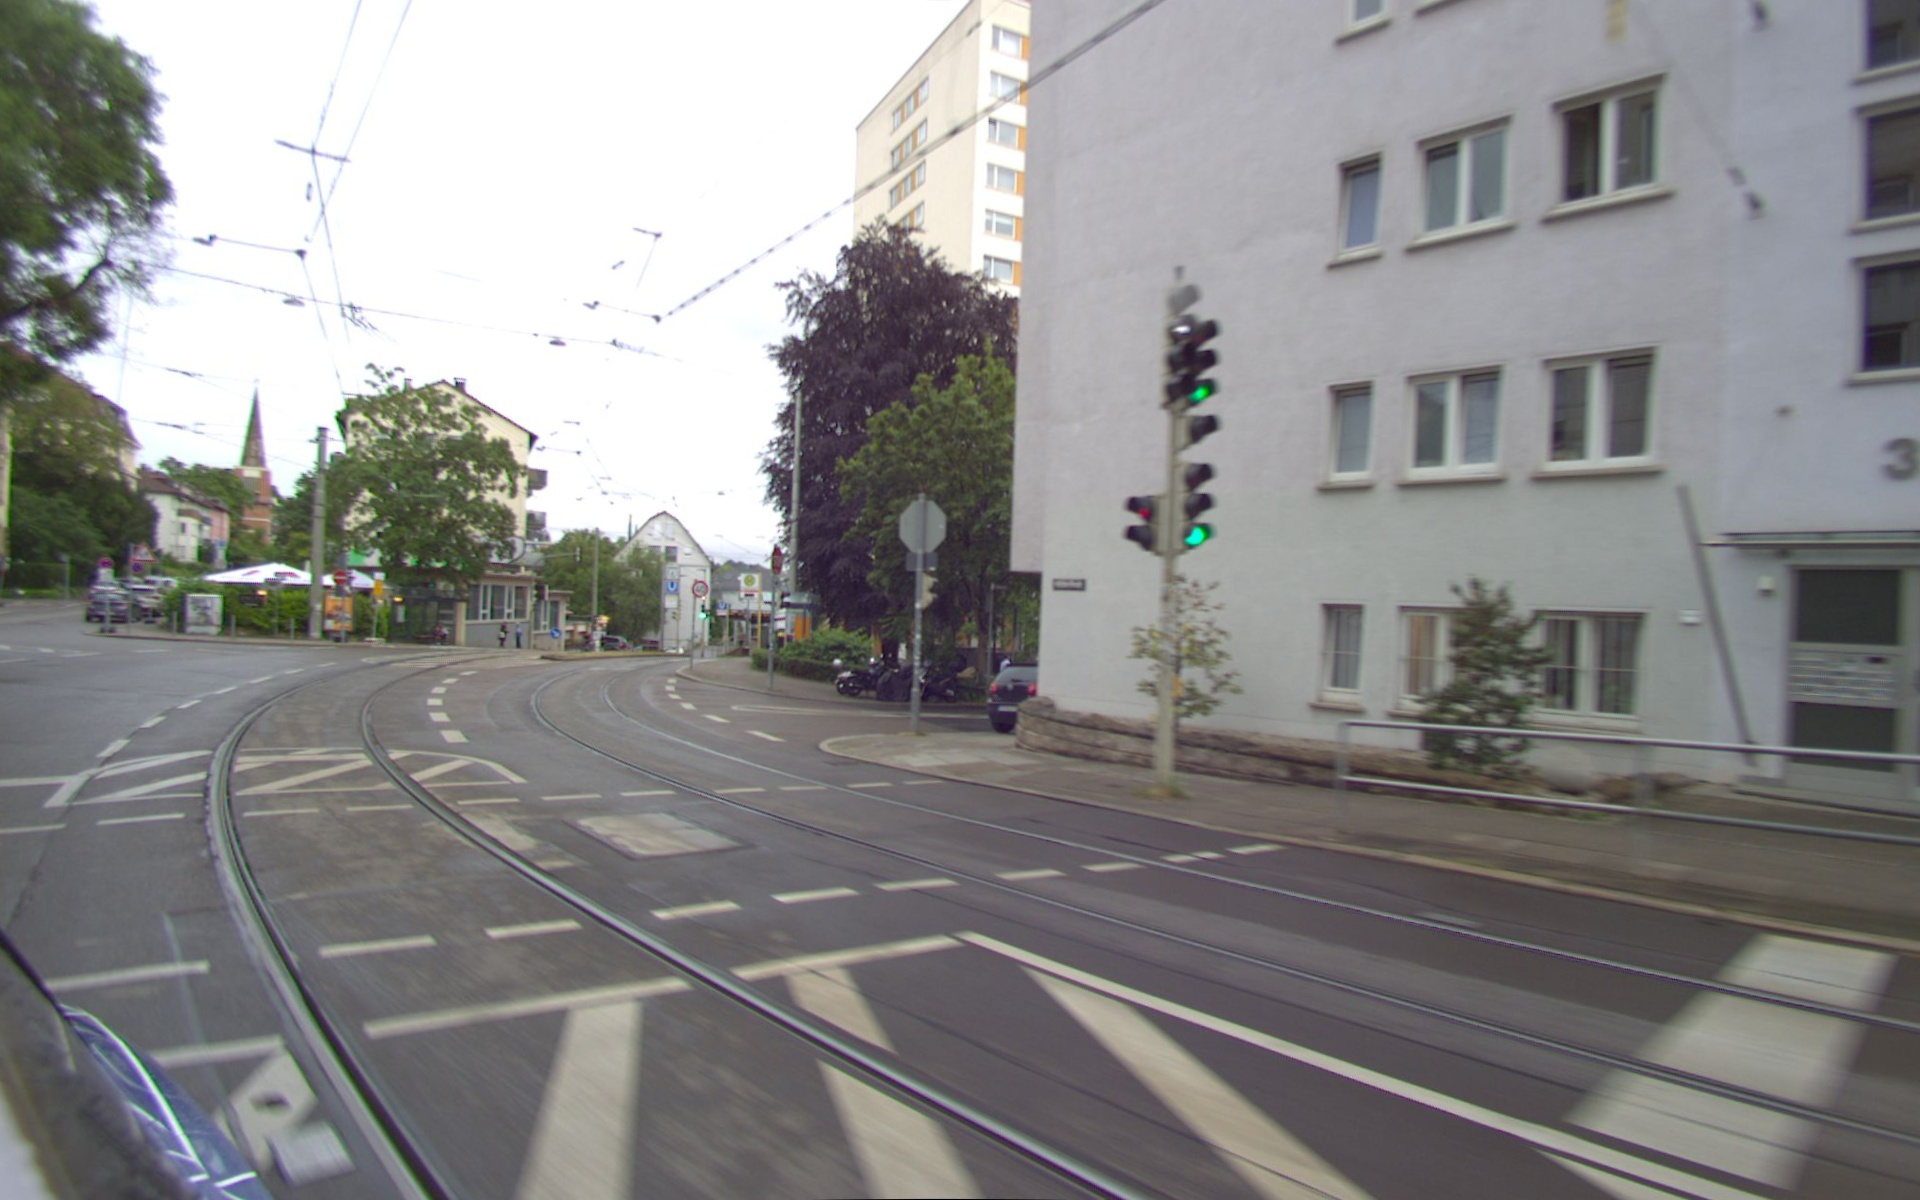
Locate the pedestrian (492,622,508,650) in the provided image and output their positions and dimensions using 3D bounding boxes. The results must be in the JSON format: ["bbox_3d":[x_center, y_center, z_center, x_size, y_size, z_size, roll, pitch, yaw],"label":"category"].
[{"bbox_3d":[-26.631,2.075,58.565,0.539,1.565,0.559,4,-4,-4],"label":"pedestrian"}]

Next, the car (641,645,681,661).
[{"bbox_3d":[-32.736,5.823,110.897,3.938,1.477,1.820,2,2,-6],"label":"car"}]

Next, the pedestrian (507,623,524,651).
[{"bbox_3d":[-25.788,2.156,58.763,0.581,1.565,0.650,4,-4,-2],"label":"pedestrian"}]

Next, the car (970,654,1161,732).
[{"bbox_3d":[2.302,1.923,21.262,1.856,1.466,4.191,-4,-6,43],"label":"car"}]

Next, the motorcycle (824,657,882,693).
[{"bbox_3d":[-3.270,2.302,31.105,0.484,1.057,2.098,-1,-4,35],"label":"motorcycle"}]

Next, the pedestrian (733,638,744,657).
[{"bbox_3d":[-18.691,4.045,85.391,0.663,1.560,0.772,2,-5,-3],"label":"pedestrian"}]

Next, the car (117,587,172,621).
[{"bbox_3d":[-43.773,0.243,54.384,1.665,1.703,3.816,4,-2,-30],"label":"car"}]

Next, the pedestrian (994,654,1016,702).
[{"bbox_3d":[1.657,2.838,37.125,0.561,1.697,0.777,3,-2,-9],"label":"pedestrian"}]

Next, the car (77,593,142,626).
[{"bbox_3d":[-40.388,0.453,48.130,1.665,1.453,3.816,4,-2,-30],"label":"car"}]

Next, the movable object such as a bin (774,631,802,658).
[{"bbox_3d":[-7.661,2.001,45.142,1.010,1.147,1.342,0,-4,0],"label":"movable object such as a bin"}]

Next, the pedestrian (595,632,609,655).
[{"bbox_3d":[-27.625,3.365,78.077,0.712,1.727,0.607,3,-4,7],"label":"pedestrian"}]

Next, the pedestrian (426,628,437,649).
[{"bbox_3d":[-26.812,1.960,51.338,0.321,1.002,0.318,5,-4,-5],"label":"pedestrian"}]

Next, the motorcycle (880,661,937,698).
[{"bbox_3d":[-1.490,2.320,29.715,0.484,1.057,2.098,-3,-5,35],"label":"motorcycle"}]

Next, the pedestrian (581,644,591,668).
[{"bbox_3d":[-27.757,4.144,75.081,0.572,1.727,0.615,0,-4,-6],"label":"pedestrian"}]

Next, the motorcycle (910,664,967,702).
[{"bbox_3d":[-0.603,2.364,29.101,0.484,1.057,2.098,-3,-5,35],"label":"motorcycle"}]

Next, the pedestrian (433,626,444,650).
[{"bbox_3d":[-26.665,1.941,51.753,0.321,1.159,0.318,5,-4,-5],"label":"pedestrian"}]

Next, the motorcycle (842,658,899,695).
[{"bbox_3d":[-2.688,2.306,30.594,0.484,1.057,2.098,-3,-5,35],"label":"motorcycle"}]

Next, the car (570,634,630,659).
[{"bbox_3d":[-30.465,3.923,85.715,4.282,1.687,1.780,5,-5,0],"label":"car"}]

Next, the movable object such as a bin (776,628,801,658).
[{"bbox_3d":[-8.274,2.092,48.874,1.010,1.445,1.427,0,-4,0],"label":"movable object such as a bin"}]
